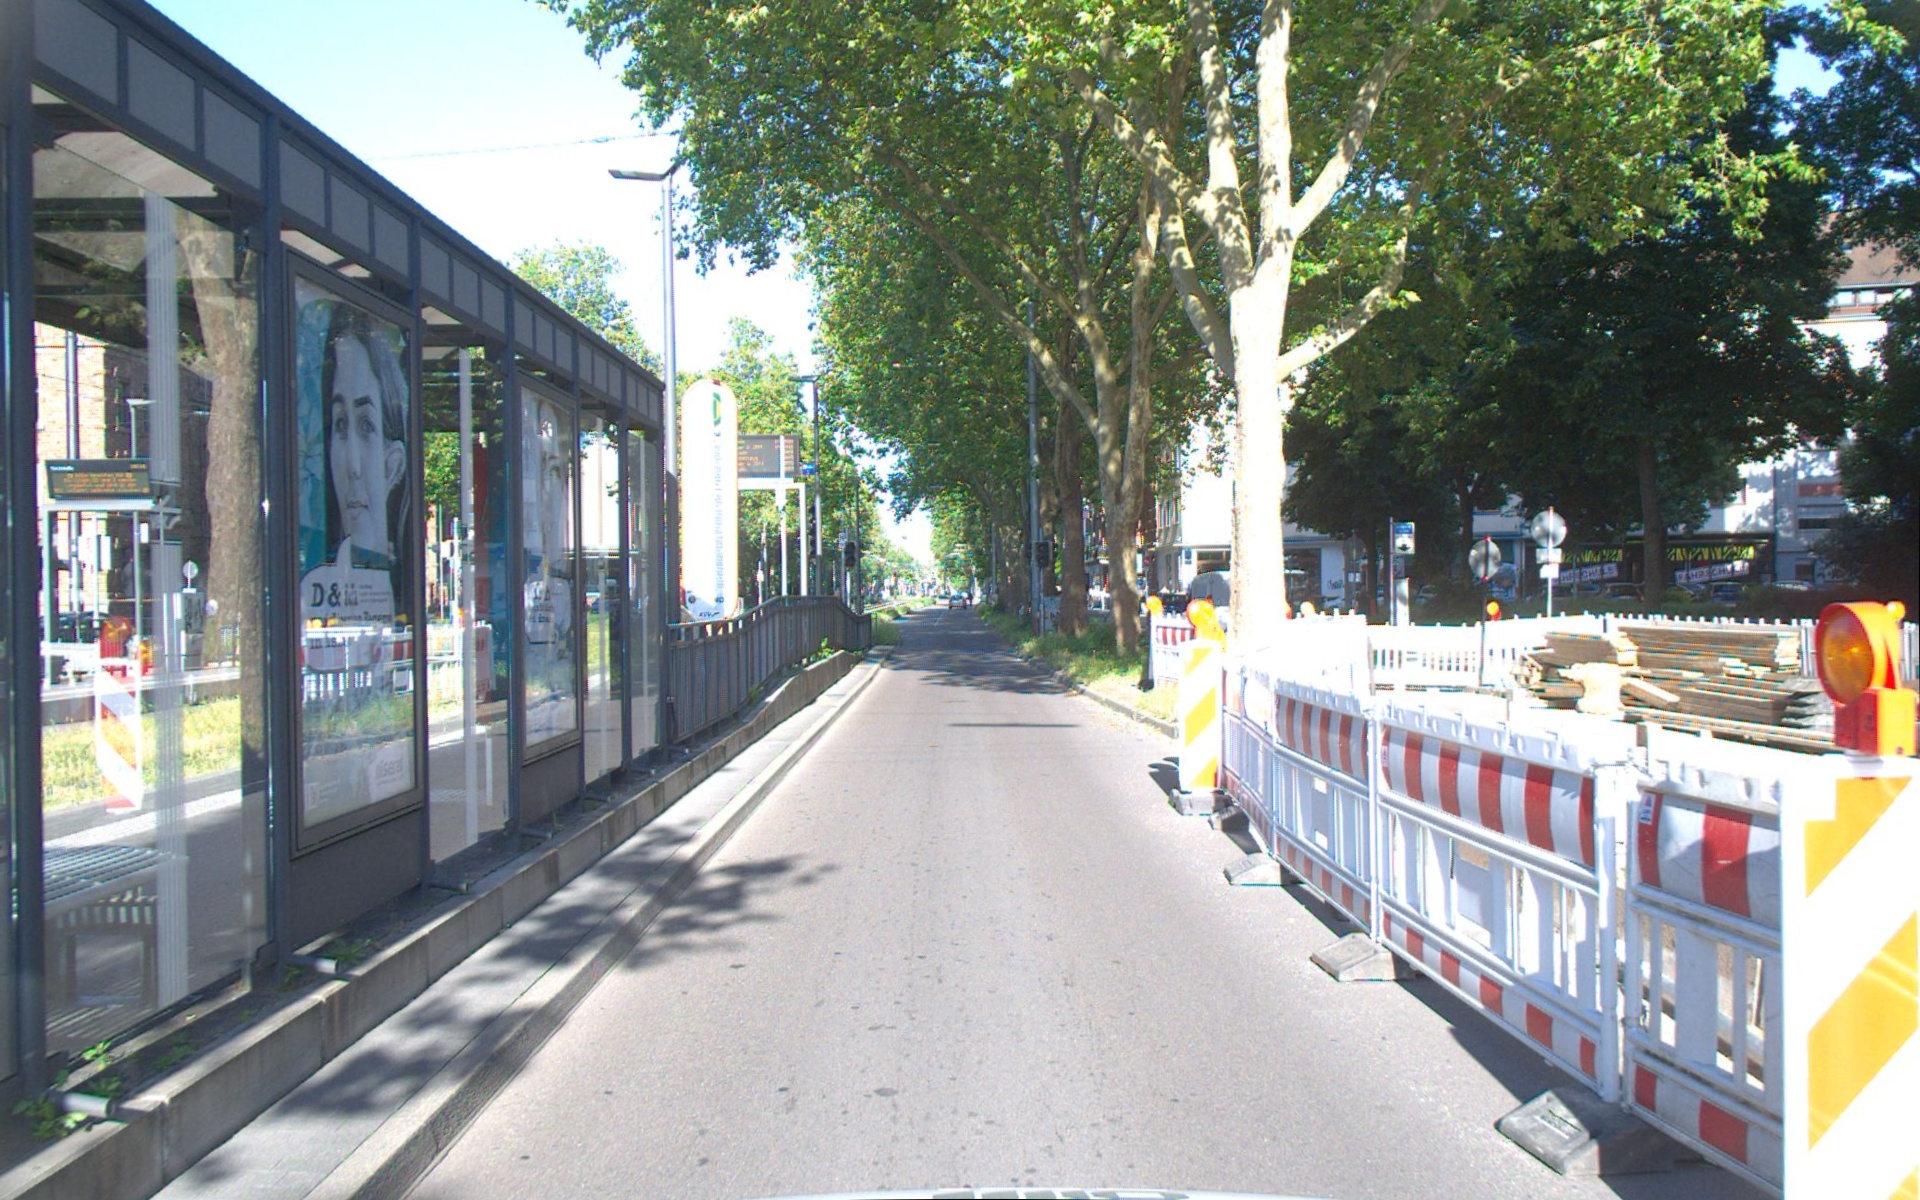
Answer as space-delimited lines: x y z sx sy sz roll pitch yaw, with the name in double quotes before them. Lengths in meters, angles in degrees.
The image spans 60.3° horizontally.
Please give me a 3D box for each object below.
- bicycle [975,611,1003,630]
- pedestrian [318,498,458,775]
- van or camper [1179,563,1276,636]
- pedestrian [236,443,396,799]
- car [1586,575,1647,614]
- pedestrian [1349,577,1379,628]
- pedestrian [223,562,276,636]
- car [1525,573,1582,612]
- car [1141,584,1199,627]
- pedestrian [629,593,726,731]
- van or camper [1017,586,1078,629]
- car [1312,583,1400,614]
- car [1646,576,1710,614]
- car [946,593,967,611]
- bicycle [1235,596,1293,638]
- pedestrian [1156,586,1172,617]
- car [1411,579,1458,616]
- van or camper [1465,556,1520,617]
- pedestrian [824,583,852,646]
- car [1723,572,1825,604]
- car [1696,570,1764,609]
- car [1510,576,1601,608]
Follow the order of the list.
"bicycle" 1.660 1.192 95.541 1.560 1.077 0.404 -1 0 7
"pedestrian" -3.868 0.235 11.229 0.668 1.815 0.754 0 0 1
"van or camper" 8.943 -0.032 55.838 2.244 2.326 5.822 -1 0 -1
"pedestrian" -3.827 0.119 9.874 0.654 2.049 0.716 0 0 1
"car" 29.936 -0.251 75.508 1.951 1.698 4.749 -1 0 14
"pedestrian" 13.286 0.070 54.391 0.717 1.644 1.035 -1 0 0
"pedestrian" -17.267 -0.036 40.224 0.933 1.766 0.730 -1 0 2
"car" 27.161 -0.343 75.800 1.951 1.698 4.749 -1 0 14
"car" 9.028 0.206 71.376 1.782 1.772 5.167 -1 0 0
"pedestrian" -2.536 0.543 14.920 0.737 1.199 0.812 0 0 -2
"van or camper" 3.392 0.268 64.431 1.477 1.615 2.826 -1 0 -17
"car" 21.221 -0.087 88.628 4.489 1.608 2.002 -1 0 15
"car" 32.465 -0.251 74.851 1.951 1.656 4.393 -1 0 14
"car" -0.338 0.201 163.797 1.980 1.691 3.999 -1 0 -1
"bicycle" 9.511 0.527 51.850 1.572 1.285 0.962 -1 0 -5
"pedestrian" 11.352 0.087 92.030 0.779 1.734 0.724 -1 0 0
"car" 22.131 -0.138 77.315 1.951 1.656 4.393 -1 0 14
"van or camper" 24.643 -0.626 76.675 2.101 2.682 5.592 -1 0 15
"pedestrian" -3.347 0.394 45.423 0.697 1.710 0.772 -1 0 -2
"car" 40.944 -0.610 83.300 4.288 1.563 2.001 -1 0 16
"car" 34.558 -0.485 74.305 1.951 1.656 4.393 -1 0 14
"car" 30.866 -0.421 85.811 4.288 1.563 2.001 -1 0 16
